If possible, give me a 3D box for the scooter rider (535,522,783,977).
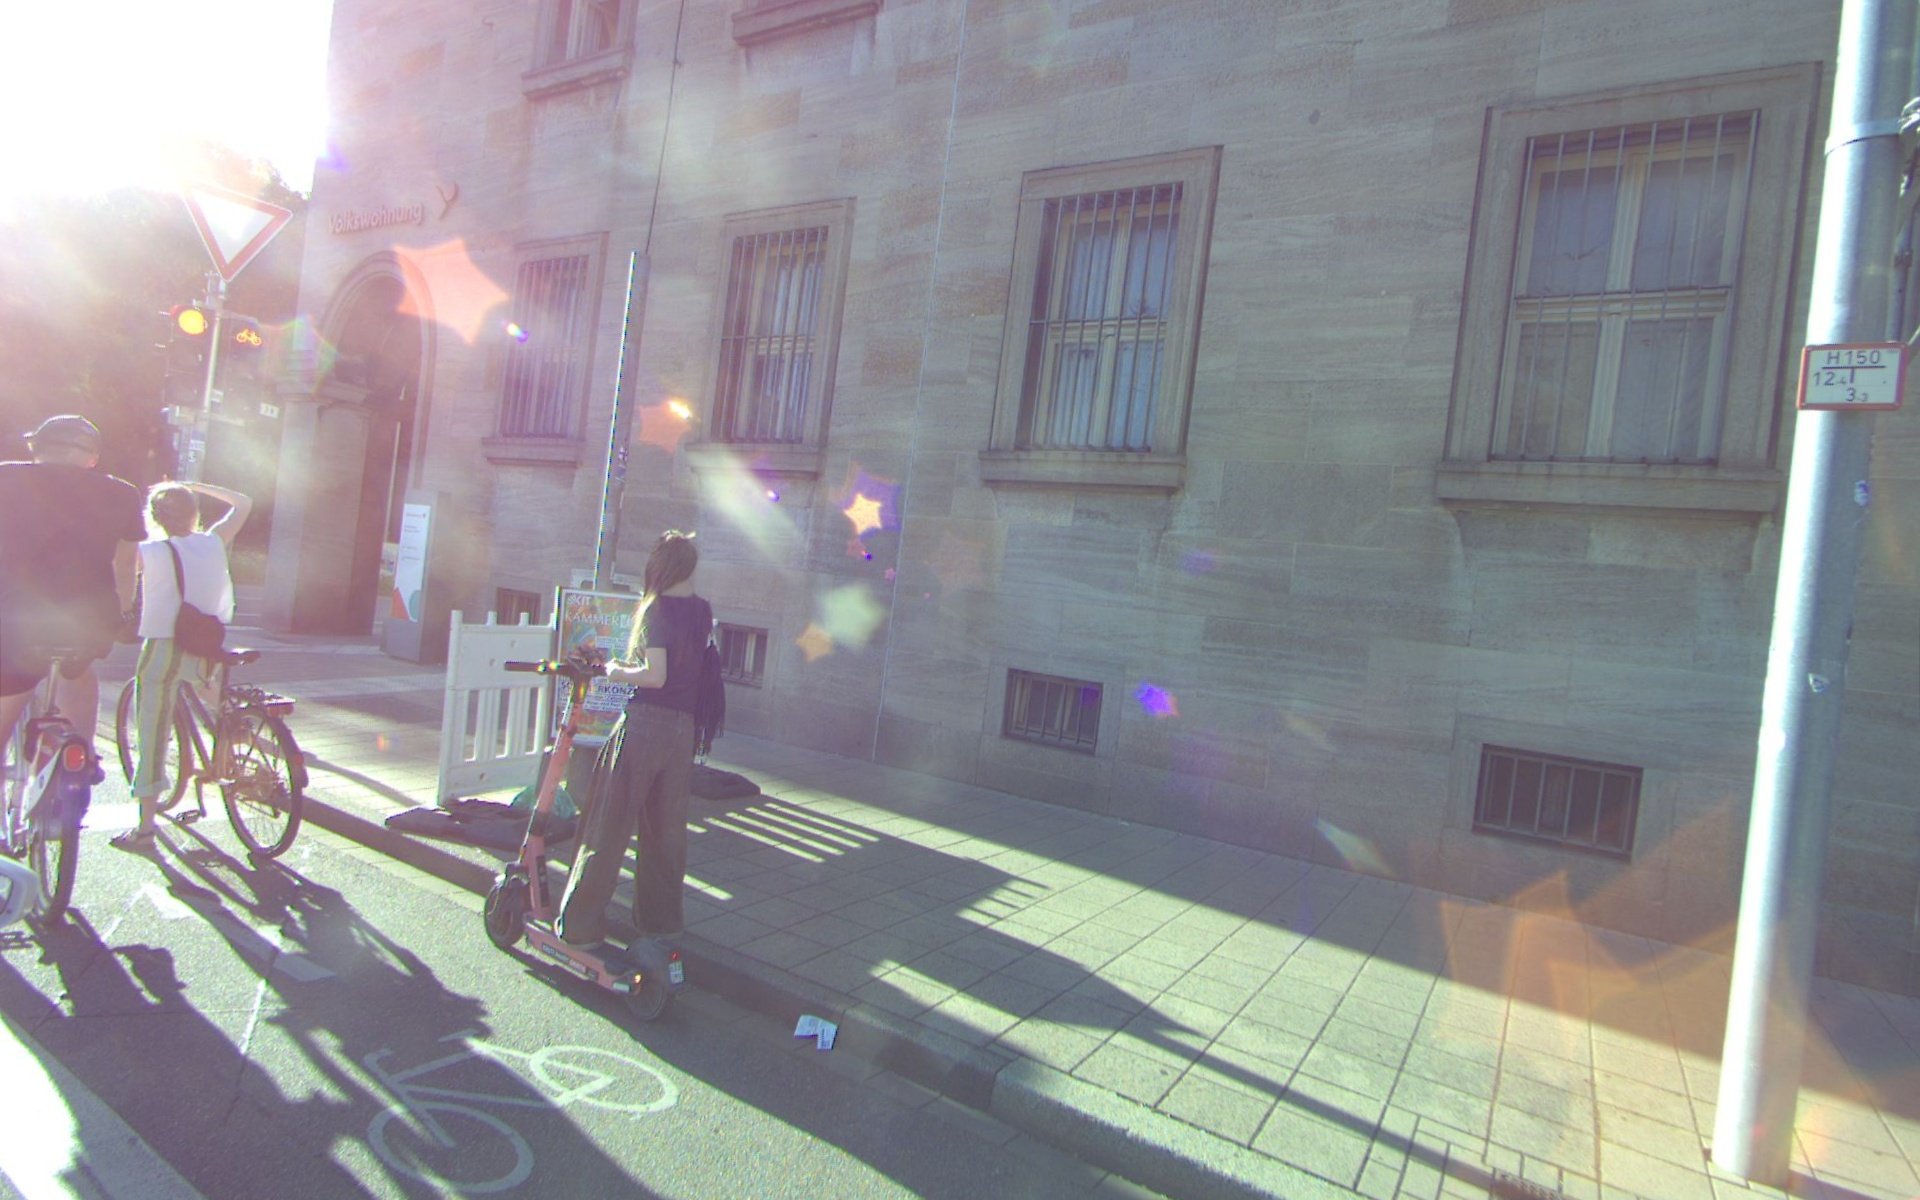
[{"bbox_3d":[-1.163,0.533,3.891,0.569,1.581,0.544,6,0,43],"label":"scooter rider"}]

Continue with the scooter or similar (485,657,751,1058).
[{"bbox_3d":[-1.383,0.889,3.923,0.569,1.164,1.260,6,1,-34],"label":"scooter or similar"}]

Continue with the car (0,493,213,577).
[{"bbox_3d":[-23.480,-1.748,27.354,1.967,1.533,4.586,6,-2,32],"label":"car"}]

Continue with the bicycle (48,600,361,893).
[{"bbox_3d":[-3.711,0.633,4.892,1.718,1.057,0.582,7,0,33],"label":"bicycle"}]

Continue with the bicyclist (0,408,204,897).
[{"bbox_3d":[-3.658,0.174,3.990,0.897,1.736,0.624,7,0,31],"label":"bicyclist"}]

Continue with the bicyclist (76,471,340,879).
[{"bbox_3d":[-3.643,0.320,4.871,0.934,1.760,0.584,7,0,32],"label":"bicyclist"}]

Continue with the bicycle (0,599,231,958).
[{"bbox_3d":[-3.722,0.595,3.995,1.717,1.057,0.624,7,0,31],"label":"bicycle"}]
